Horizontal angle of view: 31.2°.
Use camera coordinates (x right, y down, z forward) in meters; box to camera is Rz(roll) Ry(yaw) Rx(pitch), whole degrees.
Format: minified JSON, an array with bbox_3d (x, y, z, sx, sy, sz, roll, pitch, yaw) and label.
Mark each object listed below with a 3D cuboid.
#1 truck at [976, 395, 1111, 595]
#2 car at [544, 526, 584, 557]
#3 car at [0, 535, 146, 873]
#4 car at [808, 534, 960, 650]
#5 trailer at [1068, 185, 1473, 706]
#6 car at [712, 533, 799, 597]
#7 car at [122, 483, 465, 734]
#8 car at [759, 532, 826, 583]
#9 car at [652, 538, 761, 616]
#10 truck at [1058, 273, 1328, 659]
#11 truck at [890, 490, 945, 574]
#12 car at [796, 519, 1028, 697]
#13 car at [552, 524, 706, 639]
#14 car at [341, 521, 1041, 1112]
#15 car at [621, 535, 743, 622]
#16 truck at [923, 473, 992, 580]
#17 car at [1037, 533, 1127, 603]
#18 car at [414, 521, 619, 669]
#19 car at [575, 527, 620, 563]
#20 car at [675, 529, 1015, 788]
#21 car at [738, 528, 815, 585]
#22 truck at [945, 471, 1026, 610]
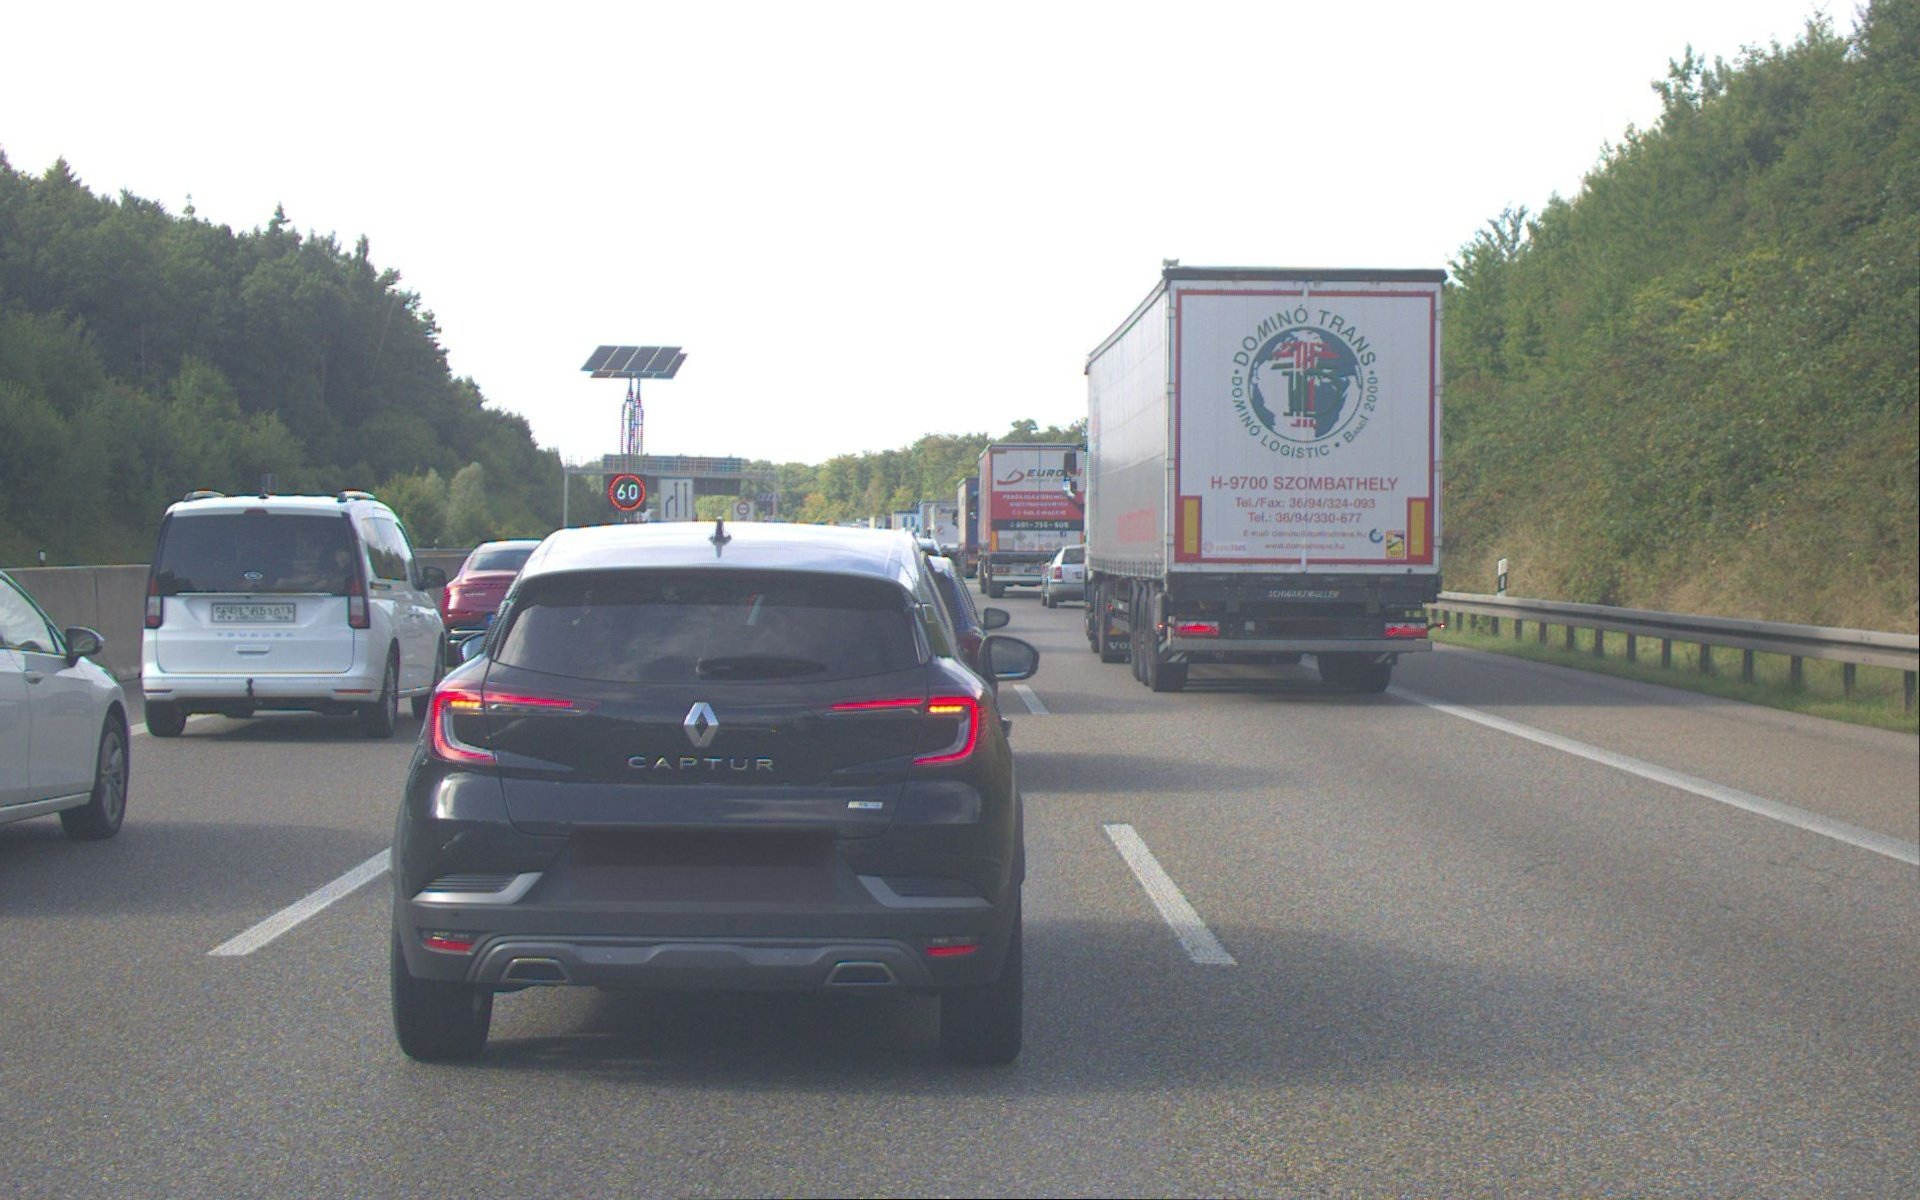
[{"bbox_3d":[2.175,-2.729,93.769,3.365,5.027,12.737,1,1,0],"label":"truck"},{"bbox_3d":[-23.700,-3.535,205.751,1.852,1.803,4.925,1,1,-1],"label":"car"},{"bbox_3d":[-5.034,0.439,15.169,1.804,1.456,4.308,0,1,1],"label":"car"},{"bbox_3d":[-1.011,-0.123,47.658,1.993,1.509,4.000,1,1,0],"label":"car"},{"bbox_3d":[2.993,-1.514,37.488,3.002,4.645,13.291,1,1,-1],"label":"trailer"},{"bbox_3d":[-5.267,-0.926,88.842,1.993,1.607,4.000,1,1,0],"label":"car"},{"bbox_3d":[-5.129,0.040,27.032,1.911,1.783,4.418,1,1,-1],"label":"car"},{"bbox_3d":[-5.442,-1.394,112.154,1.993,1.607,4.000,1,1,0],"label":"car"},{"bbox_3d":[-5.403,-0.498,73.703,1.993,1.607,4.000,1,1,0],"label":"car"},{"bbox_3d":[2.911,-1.677,44.633,2.997,4.651,5.940,0,1,-1],"label":"truck"},{"bbox_3d":[-2.629,-4.275,218.430,3.166,5.142,12.737,1,1,0],"label":"truck"},{"bbox_3d":[-0.410,0.047,31.751,1.993,1.509,4.000,1,1,0],"label":"car"},{"bbox_3d":[-5.161,-0.296,54.064,1.993,1.716,4.000,1,1,0],"label":"car"},{"bbox_3d":[-0.667,0.540,11.071,1.805,1.547,4.000,0,1,2],"label":"car"},{"bbox_3d":[-5.320,-0.421,66.168,1.993,1.607,4.000,1,1,0],"label":"car"},{"bbox_3d":[-0.068,-3.866,184.321,3.167,5.486,12.737,1,1,2],"label":"truck"},{"bbox_3d":[2.749,-0.735,78.179,1.804,1.527,3.926,1,1,-1],"label":"car"},{"bbox_3d":[-5.187,-0.073,40.645,1.855,1.635,3.925,1,1,1],"label":"car"},{"bbox_3d":[-18.812,-2.859,178.773,1.852,1.803,4.925,1,1,-1],"label":"car"},{"bbox_3d":[-0.679,0.326,22.361,1.993,1.509,4.000,1,1,0],"label":"car"},{"bbox_3d":[-5.327,-1.271,100.153,1.993,1.607,4.000,1,1,0],"label":"car"},{"bbox_3d":[1.062,-2.427,143.326,3.166,5.486,12.737,1,1,0],"label":"truck"}]
